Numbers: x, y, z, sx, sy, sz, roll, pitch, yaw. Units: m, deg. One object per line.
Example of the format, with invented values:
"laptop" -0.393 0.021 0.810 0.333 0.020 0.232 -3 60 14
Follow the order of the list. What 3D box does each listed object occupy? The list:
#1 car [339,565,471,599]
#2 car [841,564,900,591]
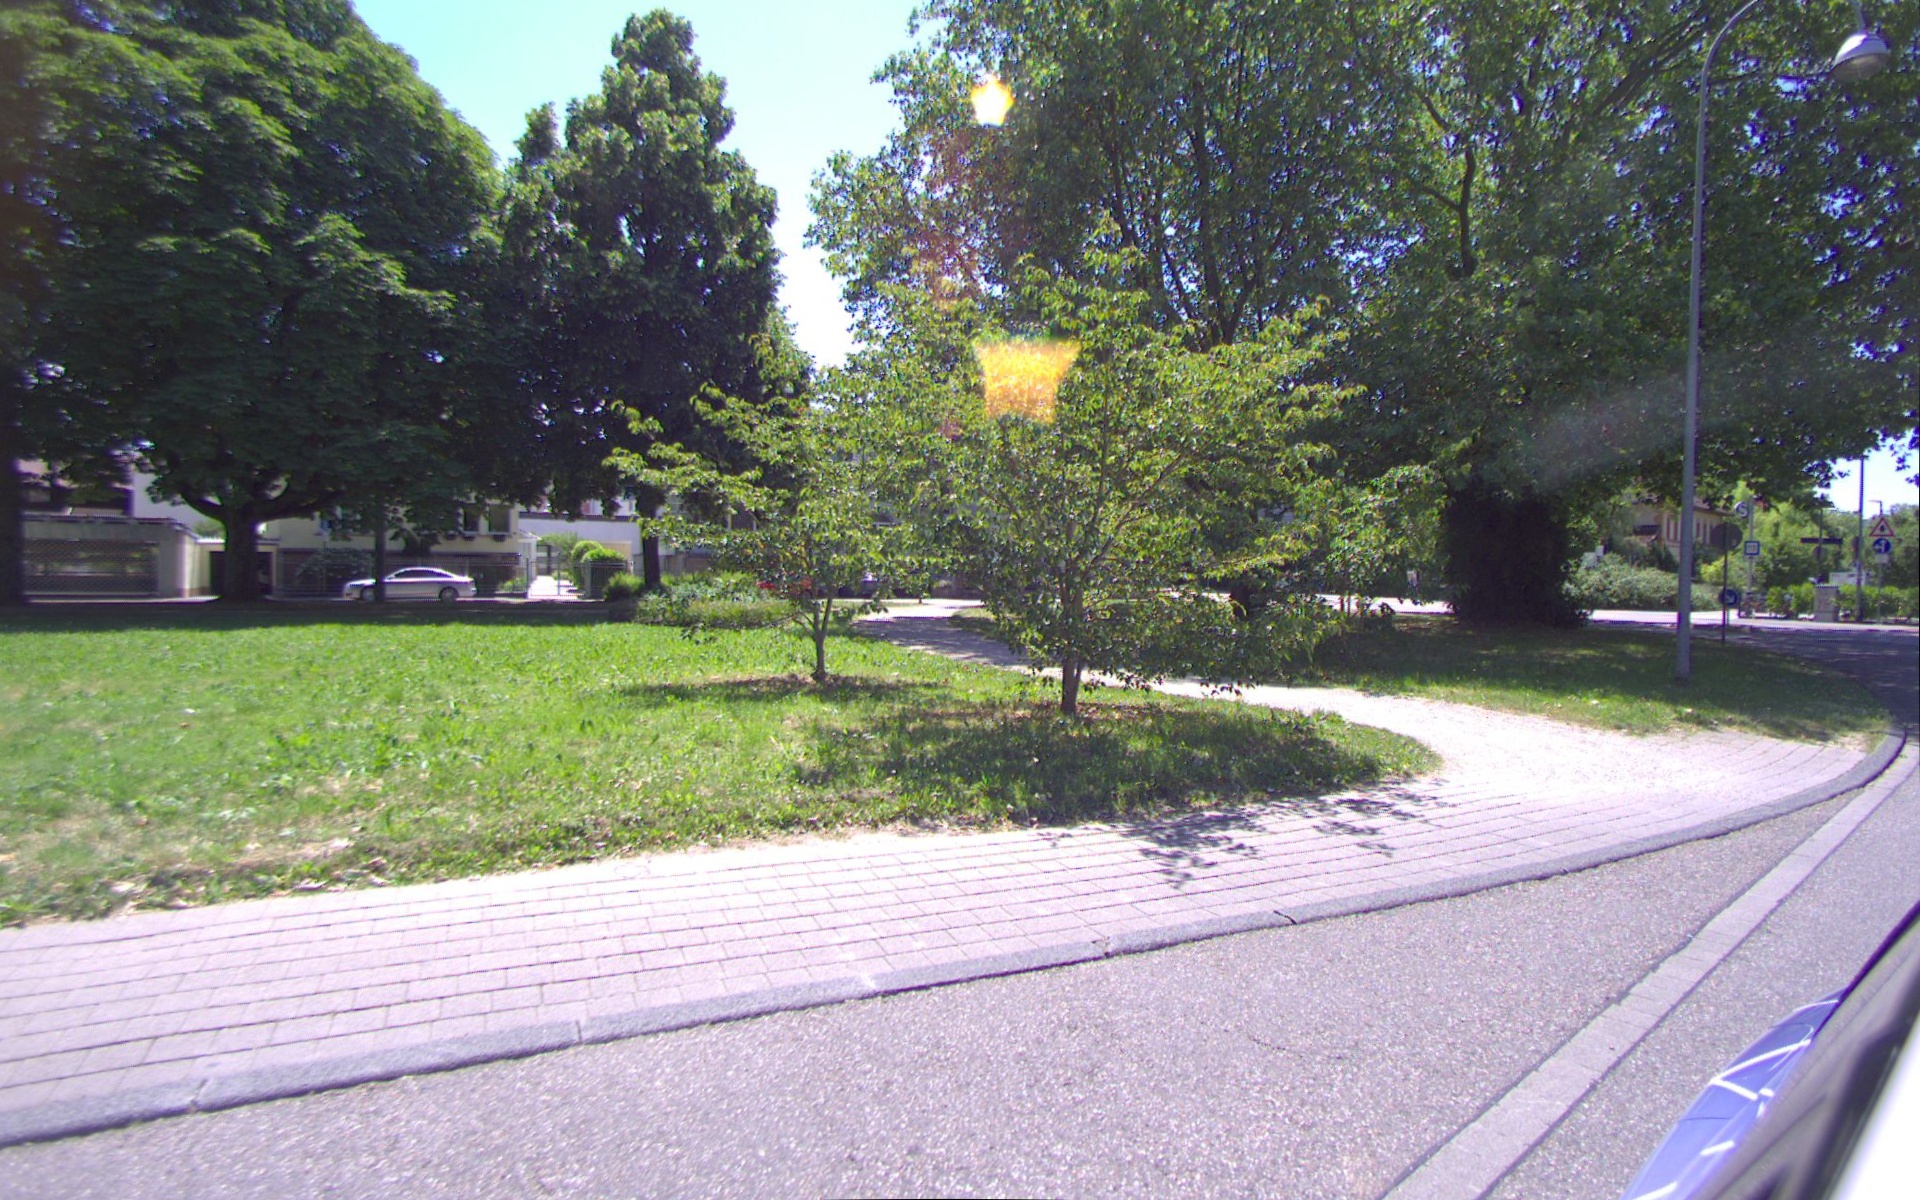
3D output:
"car" -22.579 -0.768 41.320 4.620 1.303 1.673 -1 3 -29
"car" -4.956 -1.274 55.555 1.959 1.408 4.008 0 2 -26
